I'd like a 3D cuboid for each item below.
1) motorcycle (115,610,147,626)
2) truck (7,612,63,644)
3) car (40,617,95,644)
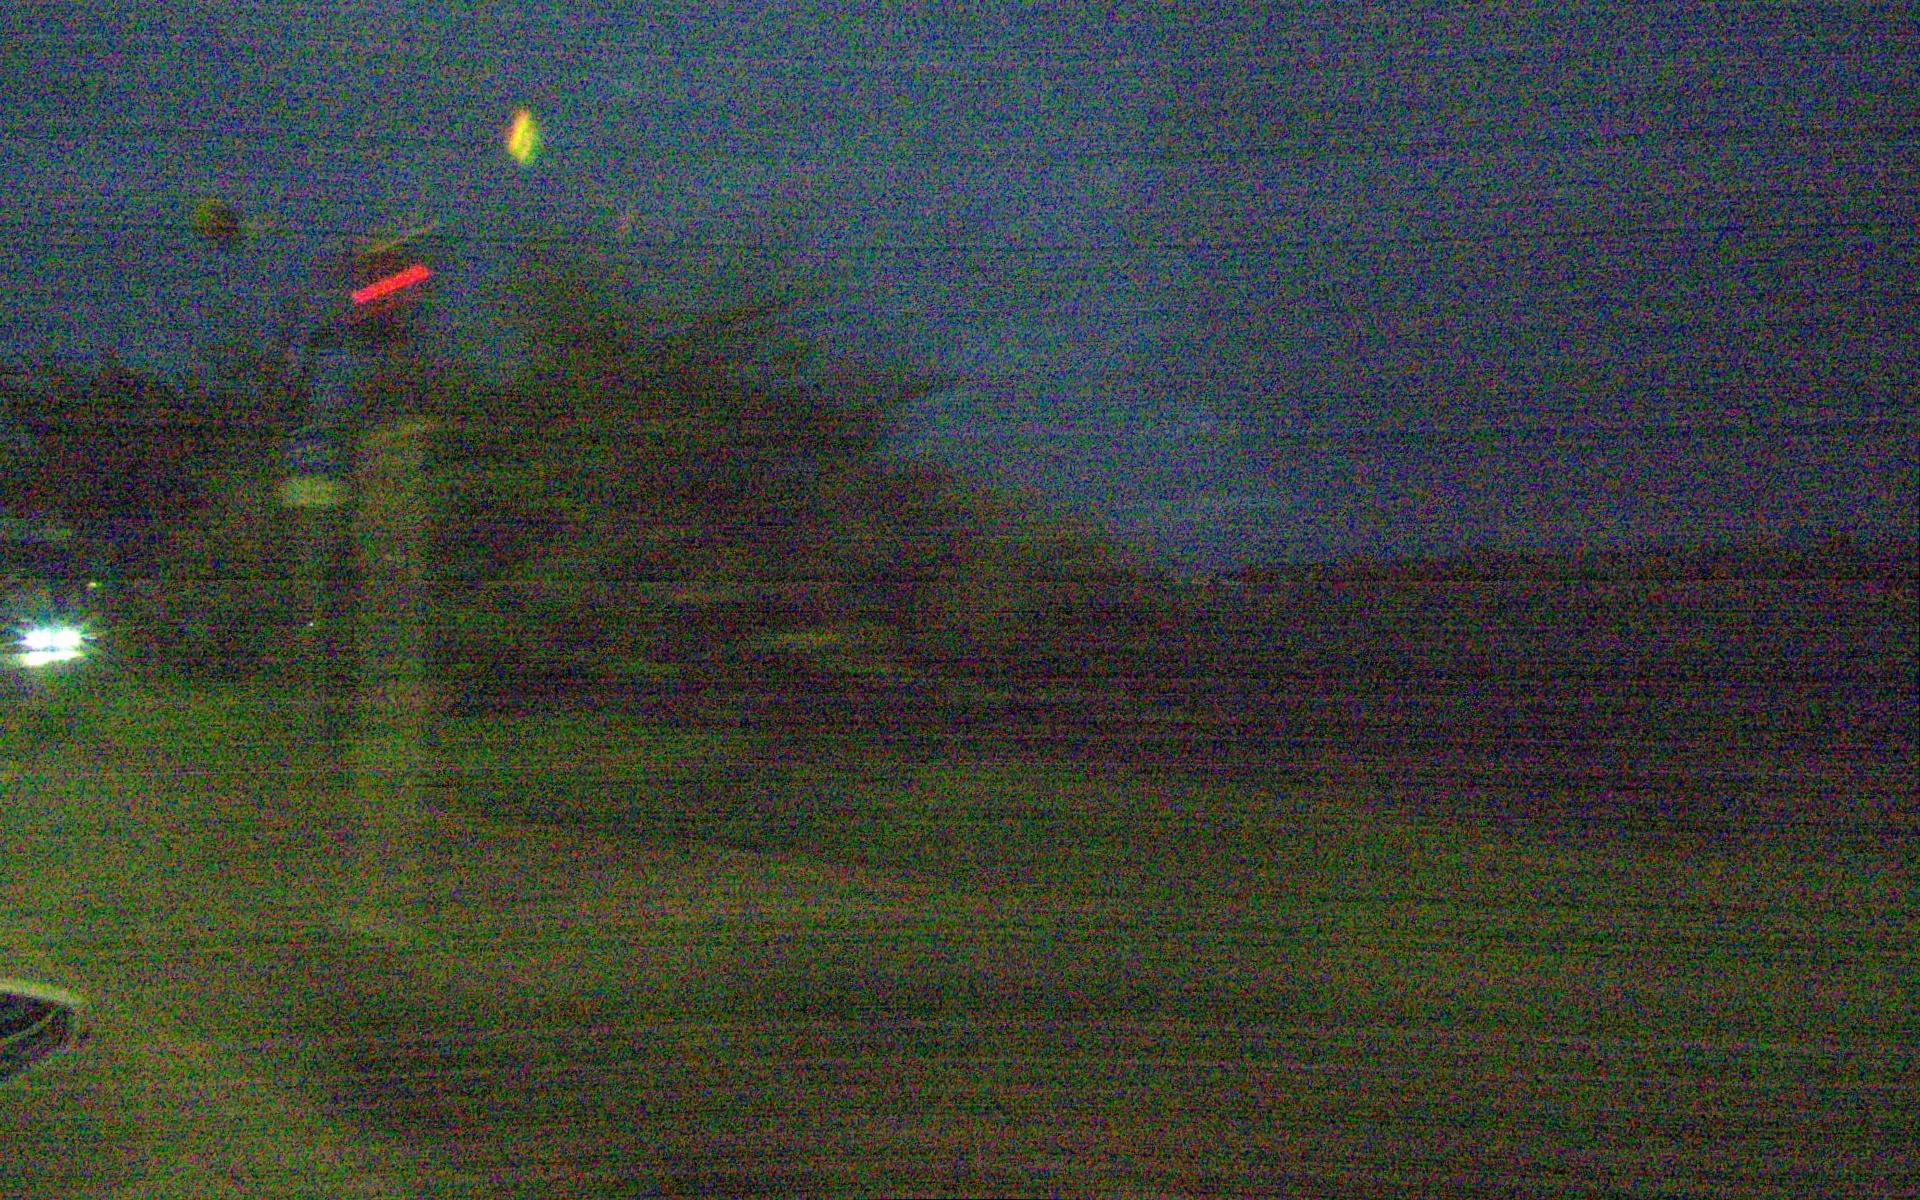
[{"bbox_3d":[-112.685,2.442,136.104,1.297,2.040,3.999,2,-1,-5],"label":"motorcycle"},{"bbox_3d":[-66.180,2.002,71.739,2.228,2.157,5.936,-2,0,-37],"label":"truck"},{"bbox_3d":[-57.132,1.903,64.192,1.735,1.629,4.429,-2,0,-30],"label":"car"}]
